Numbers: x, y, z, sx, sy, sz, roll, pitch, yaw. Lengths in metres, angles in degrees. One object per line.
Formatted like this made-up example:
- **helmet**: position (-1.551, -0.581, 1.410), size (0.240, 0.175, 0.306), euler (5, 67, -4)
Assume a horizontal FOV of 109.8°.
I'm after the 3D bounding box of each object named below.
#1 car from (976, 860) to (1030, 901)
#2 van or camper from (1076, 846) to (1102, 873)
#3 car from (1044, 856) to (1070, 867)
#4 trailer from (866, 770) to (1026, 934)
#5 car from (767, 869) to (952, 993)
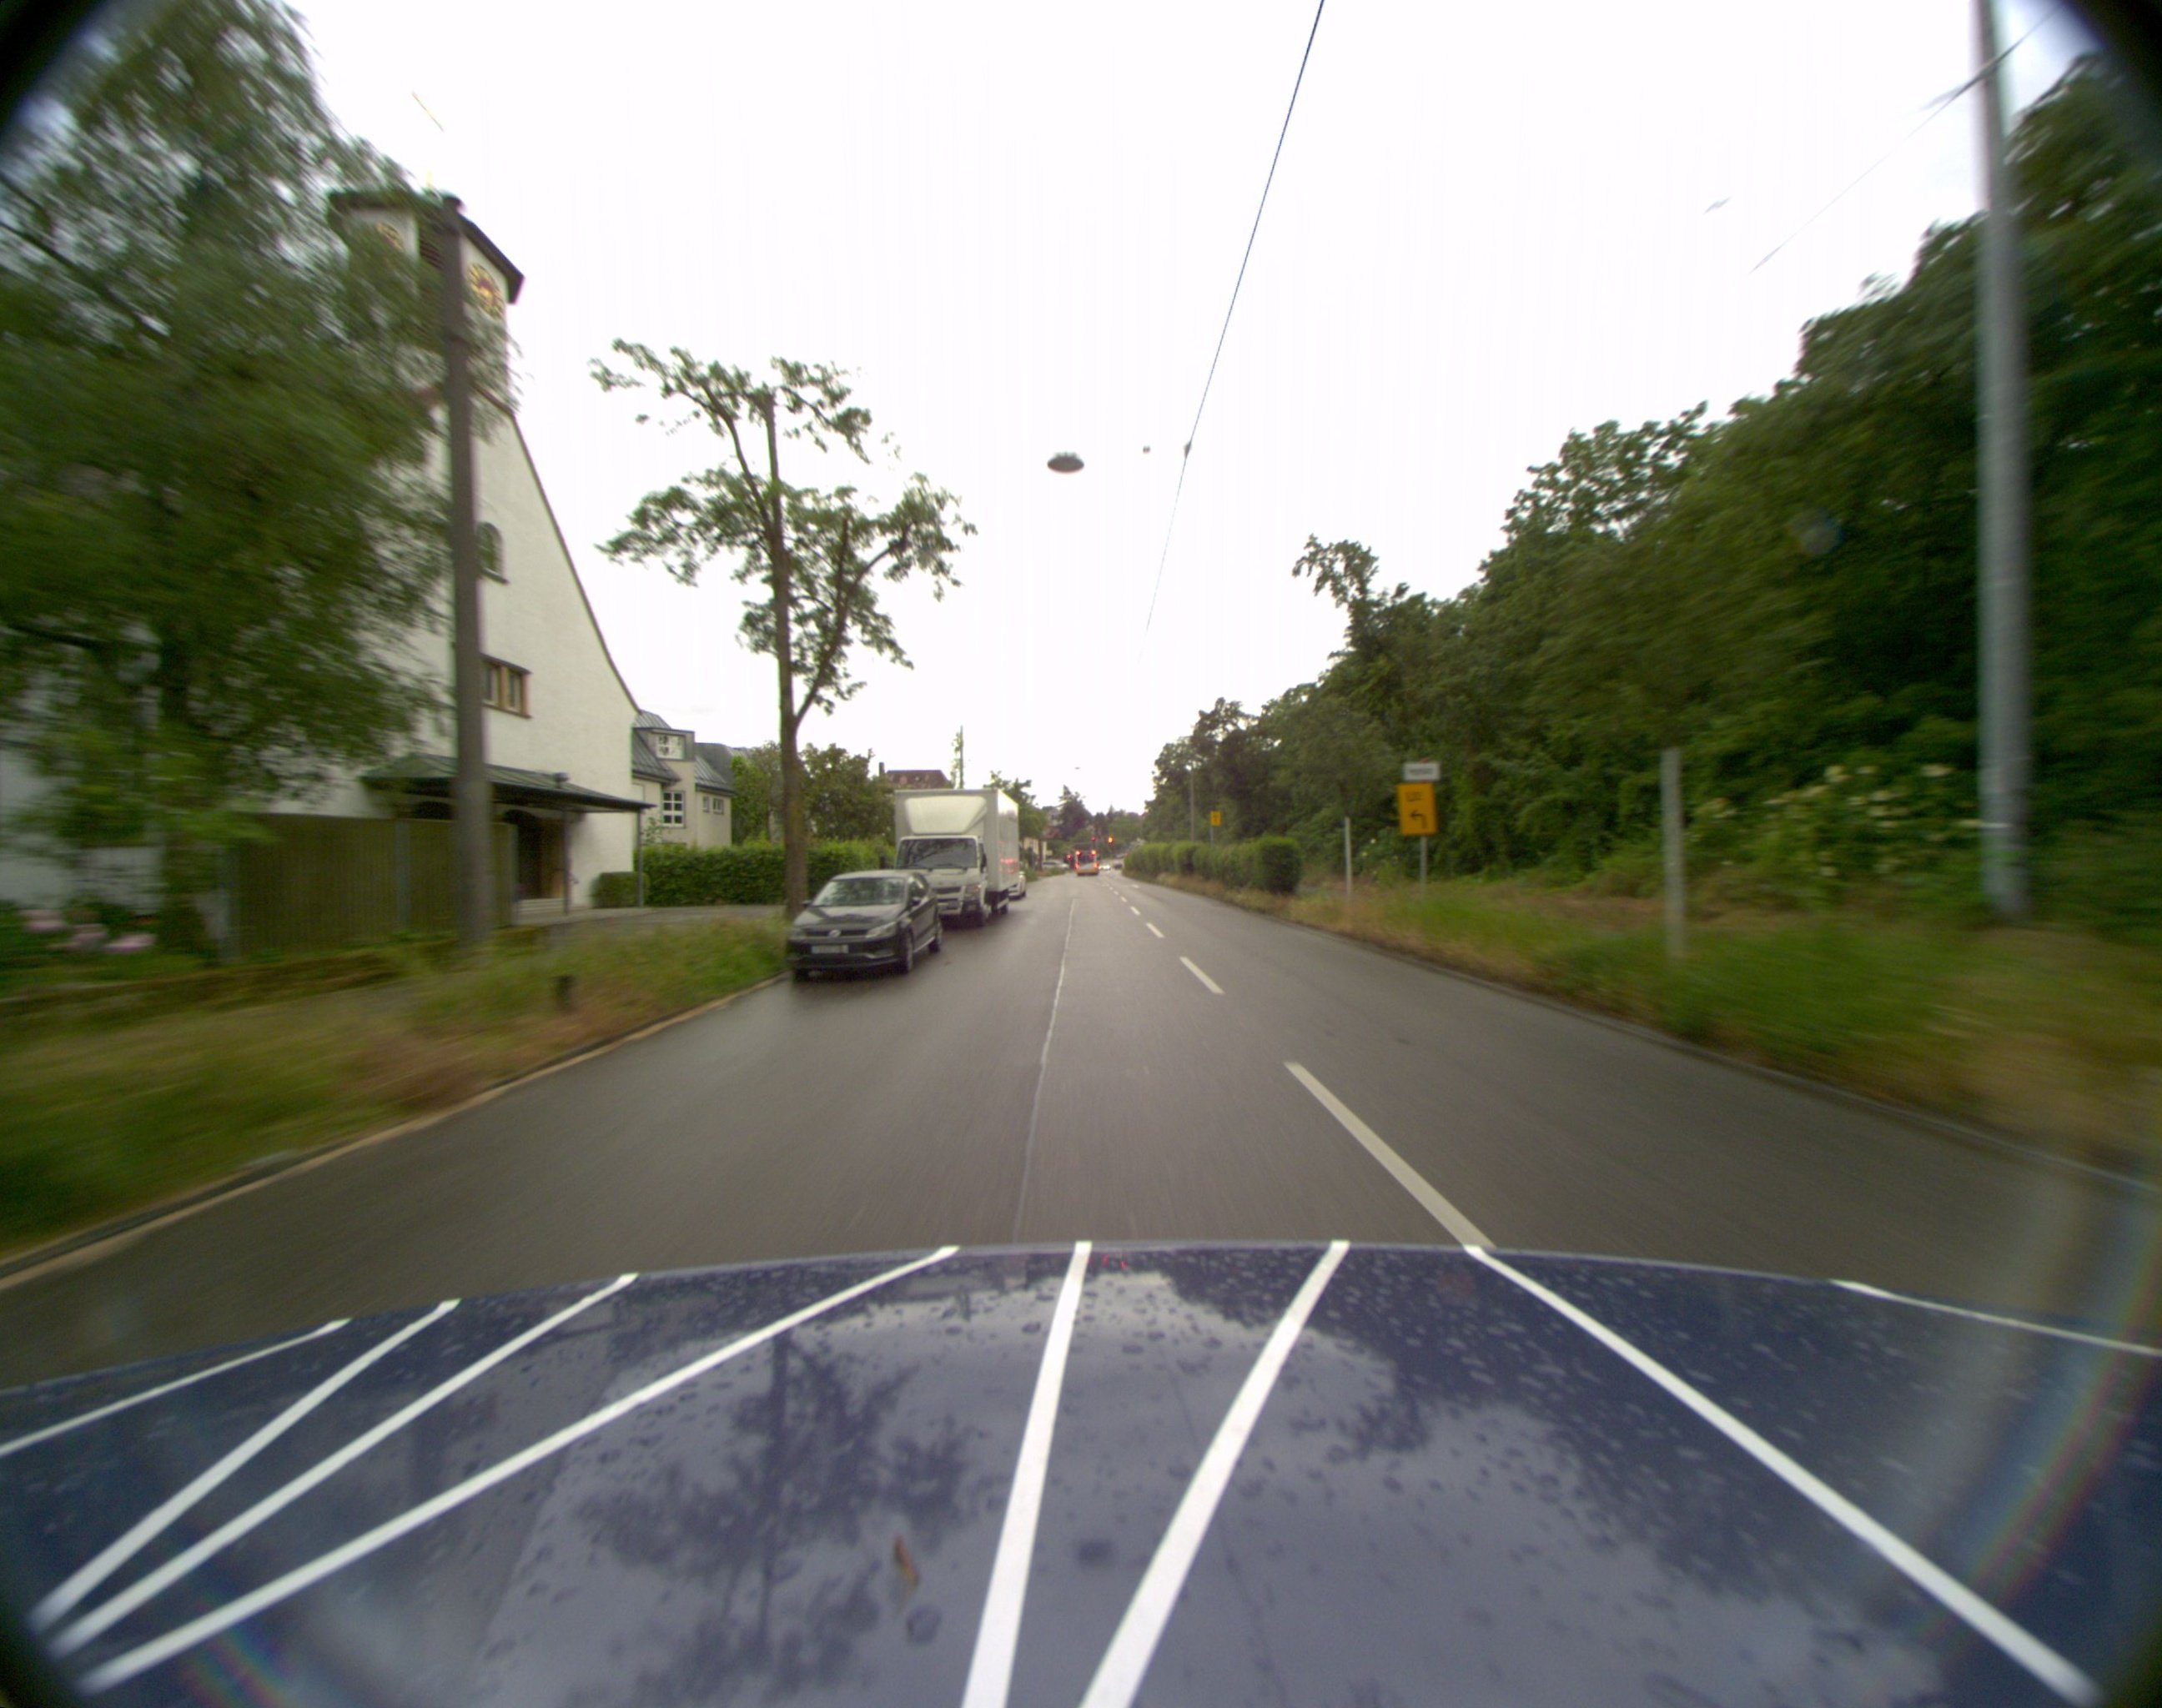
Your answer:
- **car**: position (-3.175, 1.054, 31.736), size (1.801, 1.465, 4.548), euler (-3, 0, -1)
- **van or camper**: position (1.064, 0.648, 96.319), size (2.863, 3.160, 6.851), euler (-3, 0, 2)
- **car**: position (-5.006, 1.587, 158.361), size (5.049, 1.967, 2.001), euler (-3, 0, 5)
- **trailer**: position (-3.261, -0.033, 20.790), size (2.741, 3.487, 8.247), euler (-3, 0, 0)
- **car**: position (-3.211, 1.036, 11.846), size (1.645, 1.455, 4.000), euler (-3, 0, 0)
